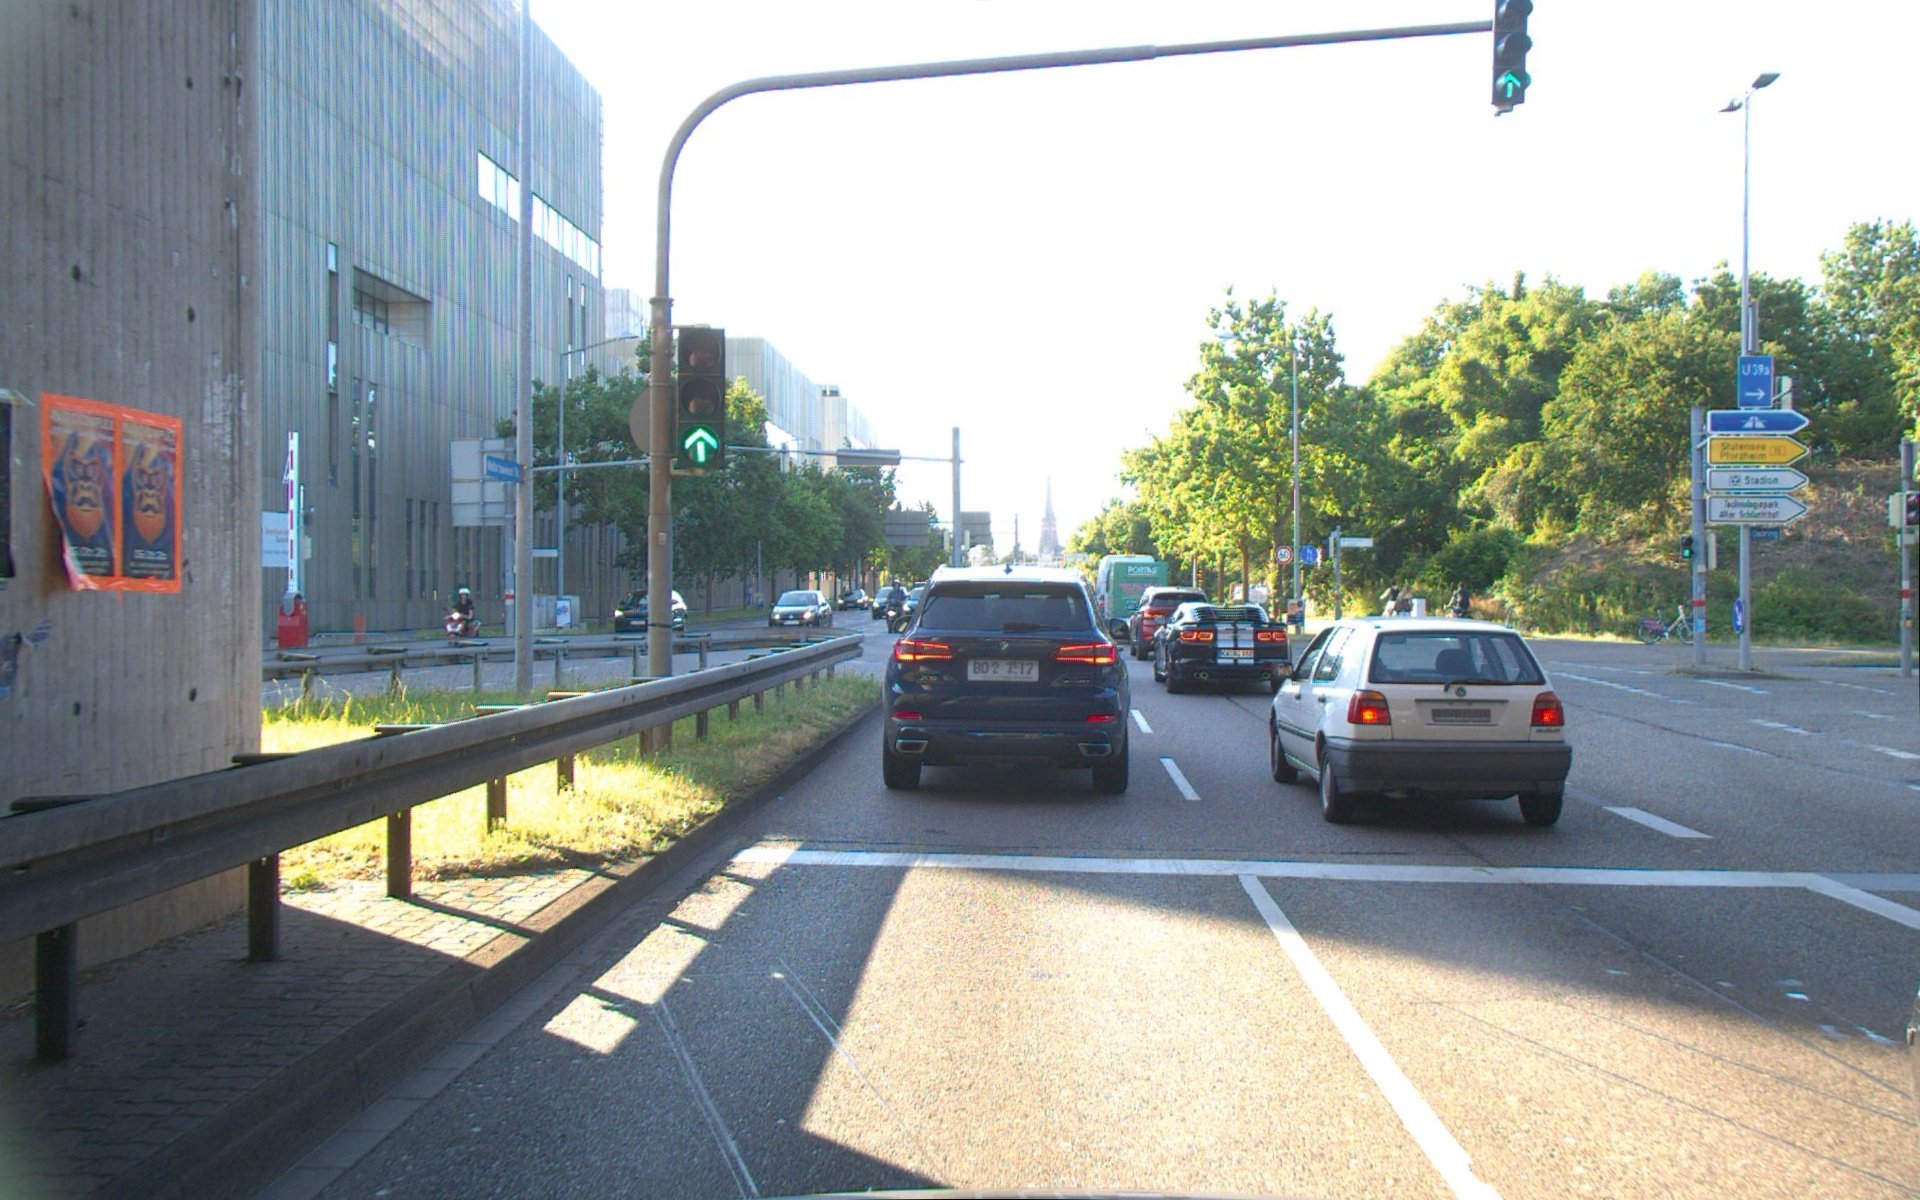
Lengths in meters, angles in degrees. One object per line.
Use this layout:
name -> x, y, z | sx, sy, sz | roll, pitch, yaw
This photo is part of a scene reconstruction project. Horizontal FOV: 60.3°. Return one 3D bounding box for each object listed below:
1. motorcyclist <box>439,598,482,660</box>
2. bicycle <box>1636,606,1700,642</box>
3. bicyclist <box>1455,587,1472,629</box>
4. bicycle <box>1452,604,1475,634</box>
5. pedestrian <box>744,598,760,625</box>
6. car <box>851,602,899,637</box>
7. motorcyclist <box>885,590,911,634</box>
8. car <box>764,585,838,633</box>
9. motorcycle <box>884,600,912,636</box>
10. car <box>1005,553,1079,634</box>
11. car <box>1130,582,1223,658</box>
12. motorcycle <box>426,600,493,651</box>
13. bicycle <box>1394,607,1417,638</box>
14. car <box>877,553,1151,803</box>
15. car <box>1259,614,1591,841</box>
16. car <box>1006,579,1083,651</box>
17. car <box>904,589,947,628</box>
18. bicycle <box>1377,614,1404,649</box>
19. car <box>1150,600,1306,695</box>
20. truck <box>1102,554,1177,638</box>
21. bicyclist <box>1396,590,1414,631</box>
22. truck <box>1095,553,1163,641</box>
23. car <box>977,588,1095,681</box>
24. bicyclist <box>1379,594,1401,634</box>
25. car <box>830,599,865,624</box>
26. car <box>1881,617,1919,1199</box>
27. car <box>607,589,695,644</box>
motorcyclist -> -11.974, 0.698, 39.667 | 0.667, 1.449, 0.868 | 1, -1, 6
bicycle -> 20.387, 0.689, 47.652 | 1.627, 1.008, 0.578 | -1, 2, 20
bicyclist -> 16.027, 0.257, 52.654 | 0.418, 1.331, 0.460 | 1, -1, 3
bicycle -> 16.015, 0.615, 52.618 | 0.428, 0.930, 1.027 | 1, -1, 3
pedestrian -> -15.915, 0.873, 126.679 | 0.997, 2.049, 0.962 | 1, -1, 3
car -> -4.314, 1.021, 84.744 | 1.952, 1.619, 4.716 | -4, -1, 2
motorcyclist -> -2.051, 0.396, 54.479 | 0.781, 1.373, 1.274 | -2, 1, -4
car -> -5.334, 0.323, 55.958 | 1.952, 1.501, 4.081 | 2, -1, 2
motorcycle -> -2.058, 0.582, 54.461 | 0.823, 1.094, 2.399 | -2, 1, -4
car -> 2.788, -0.196, 57.310 | 2.093, 2.621, 5.085 | 1, -1, -2
car -> 4.834, 0.445, 37.385 | 1.759, 1.586, 4.001 | 1, -1, 3
motorcycle -> -11.983, 0.613, 39.644 | 0.666, 1.176, 2.240 | 1, -1, 6
bicycle -> 13.489, 0.687, 50.110 | 0.428, 0.930, 1.027 | -2, -1, 3
car -> 0.511, 0.589, 14.280 | 1.952, 1.764, 4.534 | 1, -1, 3
car -> 3.404, 0.853, 12.835 | 1.546, 1.438, 4.063 | 1, -1, 2
car -> 2.187, 0.379, 41.992 | 1.582, 1.709, 3.686 | 1, -1, 8
car -> -1.449, 0.357, 69.422 | 1.668, 1.477, 3.856 | -4, -1, -1
bicycle -> 14.523, 1.058, 55.871 | 0.553, 1.132, 1.622 | 1, -1, 3
car -> 4.089, 0.701, 25.822 | 1.952, 1.317, 4.001 | 1, -1, 3
truck -> 5.322, -0.096, 49.431 | 1.954, 2.356, 4.001 | 1, -1, 3
bicyclist -> 13.487, 0.320, 50.126 | 0.418, 1.254, 0.460 | 0, -1, 3
truck -> 5.502, -0.077, 54.174 | 1.954, 2.715, 4.001 | 1, -1, 3
car -> 1.348, 0.577, 28.071 | 1.582, 1.434, 3.686 | 1, -1, 9
bicyclist -> 14.542, 0.479, 55.931 | 0.532, 1.339, 0.836 | 1, -1, 3
car -> -7.938, 0.837, 117.092 | 1.952, 1.619, 4.716 | -4, -1, 2
car -> 3.011, 0.757, 2.299 | 1.582, 1.434, 3.684 | 1, -1, 4
car -> -10.702, 0.589, 57.544 | 1.952, 1.726, 4.681 | -3, -1, 2
